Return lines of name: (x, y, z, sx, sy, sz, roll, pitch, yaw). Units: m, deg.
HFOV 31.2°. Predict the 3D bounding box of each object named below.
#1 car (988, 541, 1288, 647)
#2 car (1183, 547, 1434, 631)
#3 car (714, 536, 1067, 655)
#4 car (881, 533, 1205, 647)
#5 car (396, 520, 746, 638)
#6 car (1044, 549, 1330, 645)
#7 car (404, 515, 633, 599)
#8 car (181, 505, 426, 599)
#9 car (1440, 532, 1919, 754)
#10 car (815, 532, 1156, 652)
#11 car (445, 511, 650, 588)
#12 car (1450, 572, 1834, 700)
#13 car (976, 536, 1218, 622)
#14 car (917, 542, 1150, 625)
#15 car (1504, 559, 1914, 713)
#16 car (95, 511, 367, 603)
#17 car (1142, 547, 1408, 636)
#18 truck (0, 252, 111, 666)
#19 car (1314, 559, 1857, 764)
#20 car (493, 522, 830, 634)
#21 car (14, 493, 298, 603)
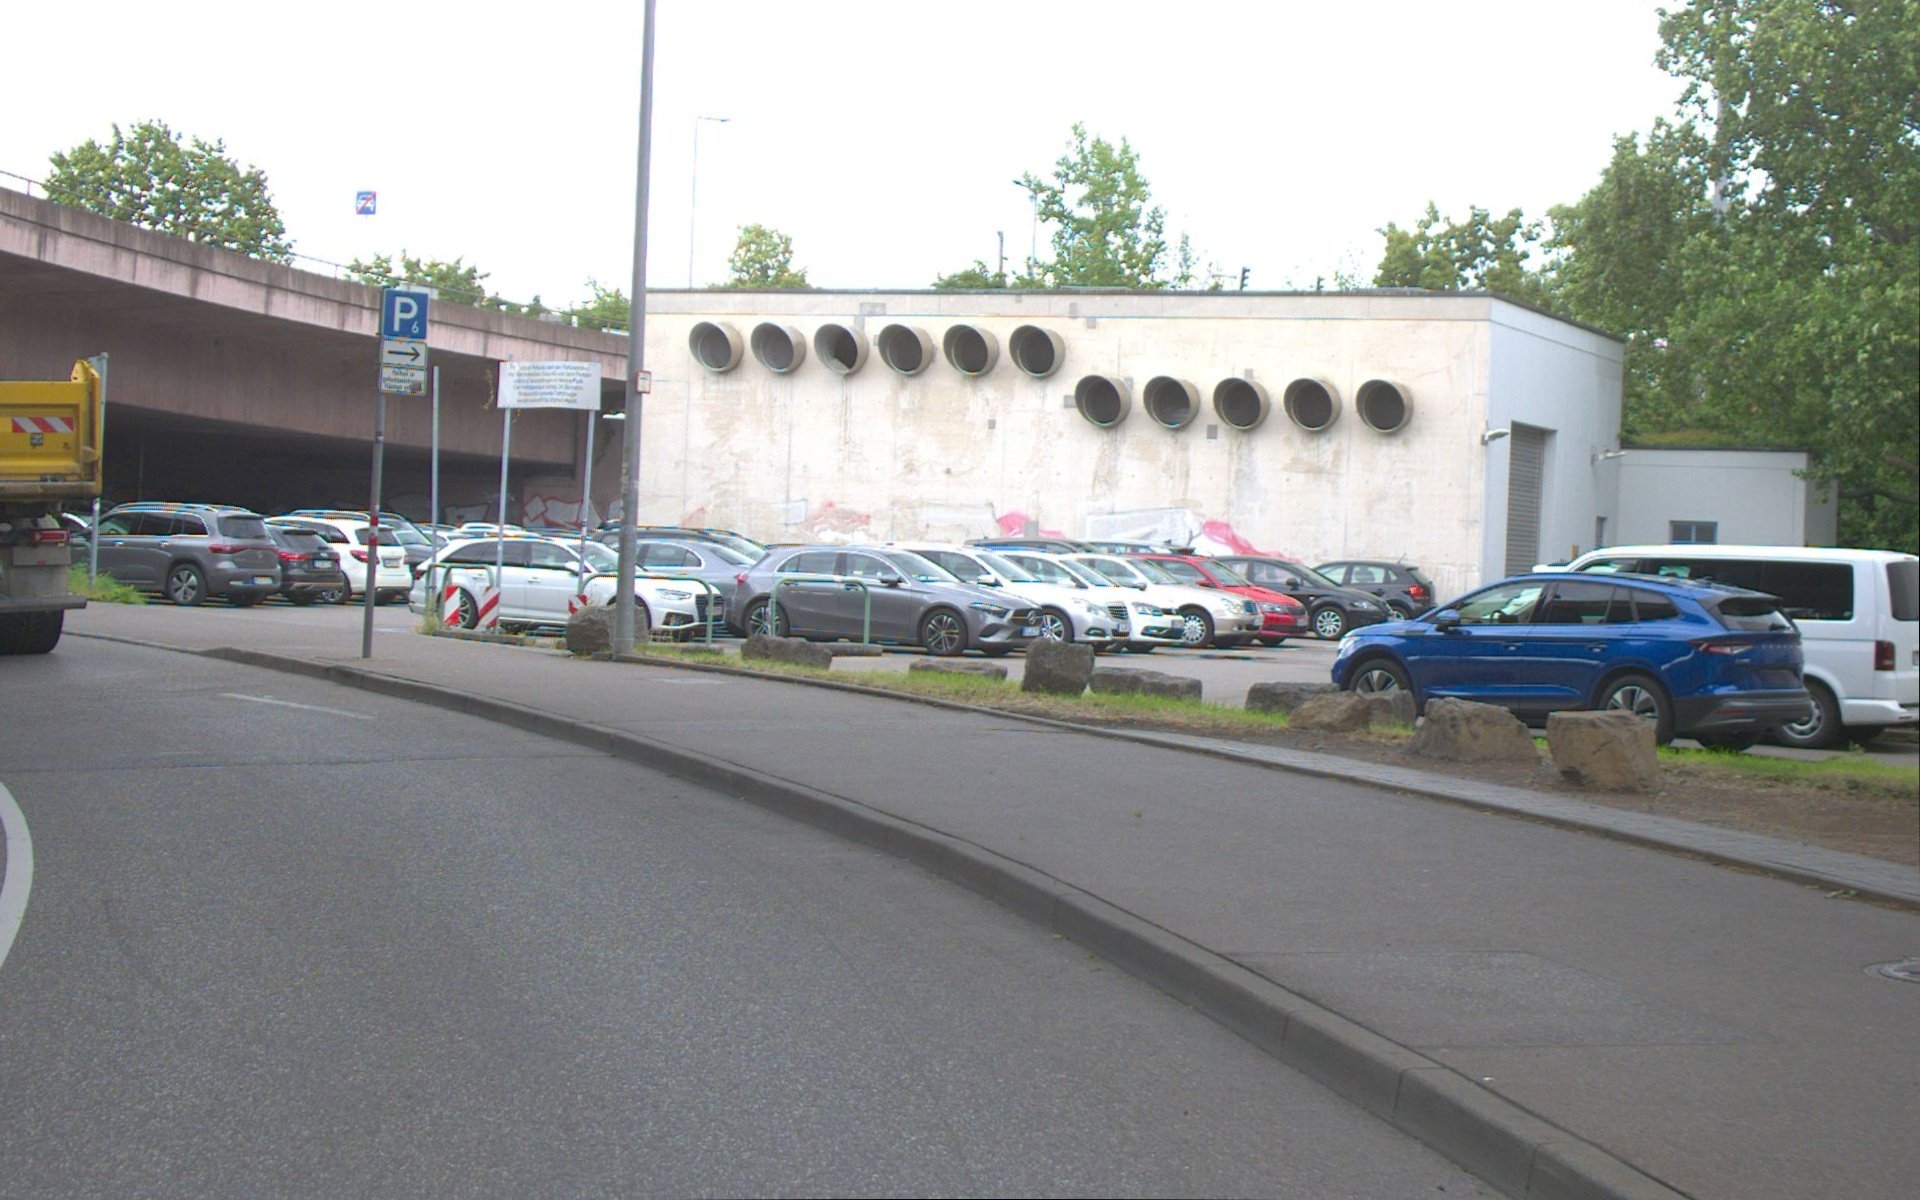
car: (2.896, -0.110, 56.164, 4.493, 1.508, 1.836, 3, 1, 26)
car: (6.745, -0.230, 66.677, 4.434, 1.420, 1.836, 3, 1, 26)
car: (-0.962, -0.076, 47.071, 4.434, 1.420, 1.836, 3, 1, 26)
car: (1.254, -0.168, 51.974, 4.493, 1.508, 1.836, 3, 1, 26)
car: (-5.582, -0.306, 49.214, 4.678, 1.470, 1.856, 3, 1, 26)
car: (3.857, -0.064, 58.502, 4.434, 1.420, 1.836, 3, 1, 26)
car: (-8.884, -0.864, 69.135, 4.252, 1.504, 1.707, 3, 1, 23)
car: (-11.976, -0.884, 62.700, 4.079, 1.551, 1.754, 3, 1, 23)
car: (7.364, 0.378, 34.366, 4.674, 1.950, 1.890, 3, 2, 32)
car: (0.358, -0.131, 49.420, 4.493, 1.508, 1.836, 3, 1, 26)
car: (-9.288, -1.137, 77.488, 4.183, 1.587, 1.836, 3, 1, 23)
car: (8.504, 0.422, 42.925, 4.353, 1.379, 1.773, 3, 1, 27)
car: (2.763, -0.437, 69.440, 4.480, 1.527, 1.767, 3, 1, 24)
car: (1.385, -0.315, 64.650, 3.968, 1.388, 1.767, 3, 1, 24)
car: (8.750, 0.382, 40.198, 4.353, 1.582, 1.773, 2, 1, 25)
car: (-12.806, -0.759, 60.372, 4.450, 1.444, 1.754, 3, 1, 23)
car: (5.753, -0.174, 62.881, 4.434, 1.420, 1.836, 3, 1, 26)
truck: (-10.909, -1.384, 33.731, 2.758, 3.685, 7.881, -1, 3, -31)
car: (5.737, 0.514, 31.924, 4.682, 1.629, 1.771, 3, 2, 42)
car: (-4.485, -0.342, 51.554, 4.678, 1.470, 1.856, 3, 1, 24)
car: (-13.548, -0.881, 57.923, 4.461, 1.669, 1.743, 3, 1, 23)
